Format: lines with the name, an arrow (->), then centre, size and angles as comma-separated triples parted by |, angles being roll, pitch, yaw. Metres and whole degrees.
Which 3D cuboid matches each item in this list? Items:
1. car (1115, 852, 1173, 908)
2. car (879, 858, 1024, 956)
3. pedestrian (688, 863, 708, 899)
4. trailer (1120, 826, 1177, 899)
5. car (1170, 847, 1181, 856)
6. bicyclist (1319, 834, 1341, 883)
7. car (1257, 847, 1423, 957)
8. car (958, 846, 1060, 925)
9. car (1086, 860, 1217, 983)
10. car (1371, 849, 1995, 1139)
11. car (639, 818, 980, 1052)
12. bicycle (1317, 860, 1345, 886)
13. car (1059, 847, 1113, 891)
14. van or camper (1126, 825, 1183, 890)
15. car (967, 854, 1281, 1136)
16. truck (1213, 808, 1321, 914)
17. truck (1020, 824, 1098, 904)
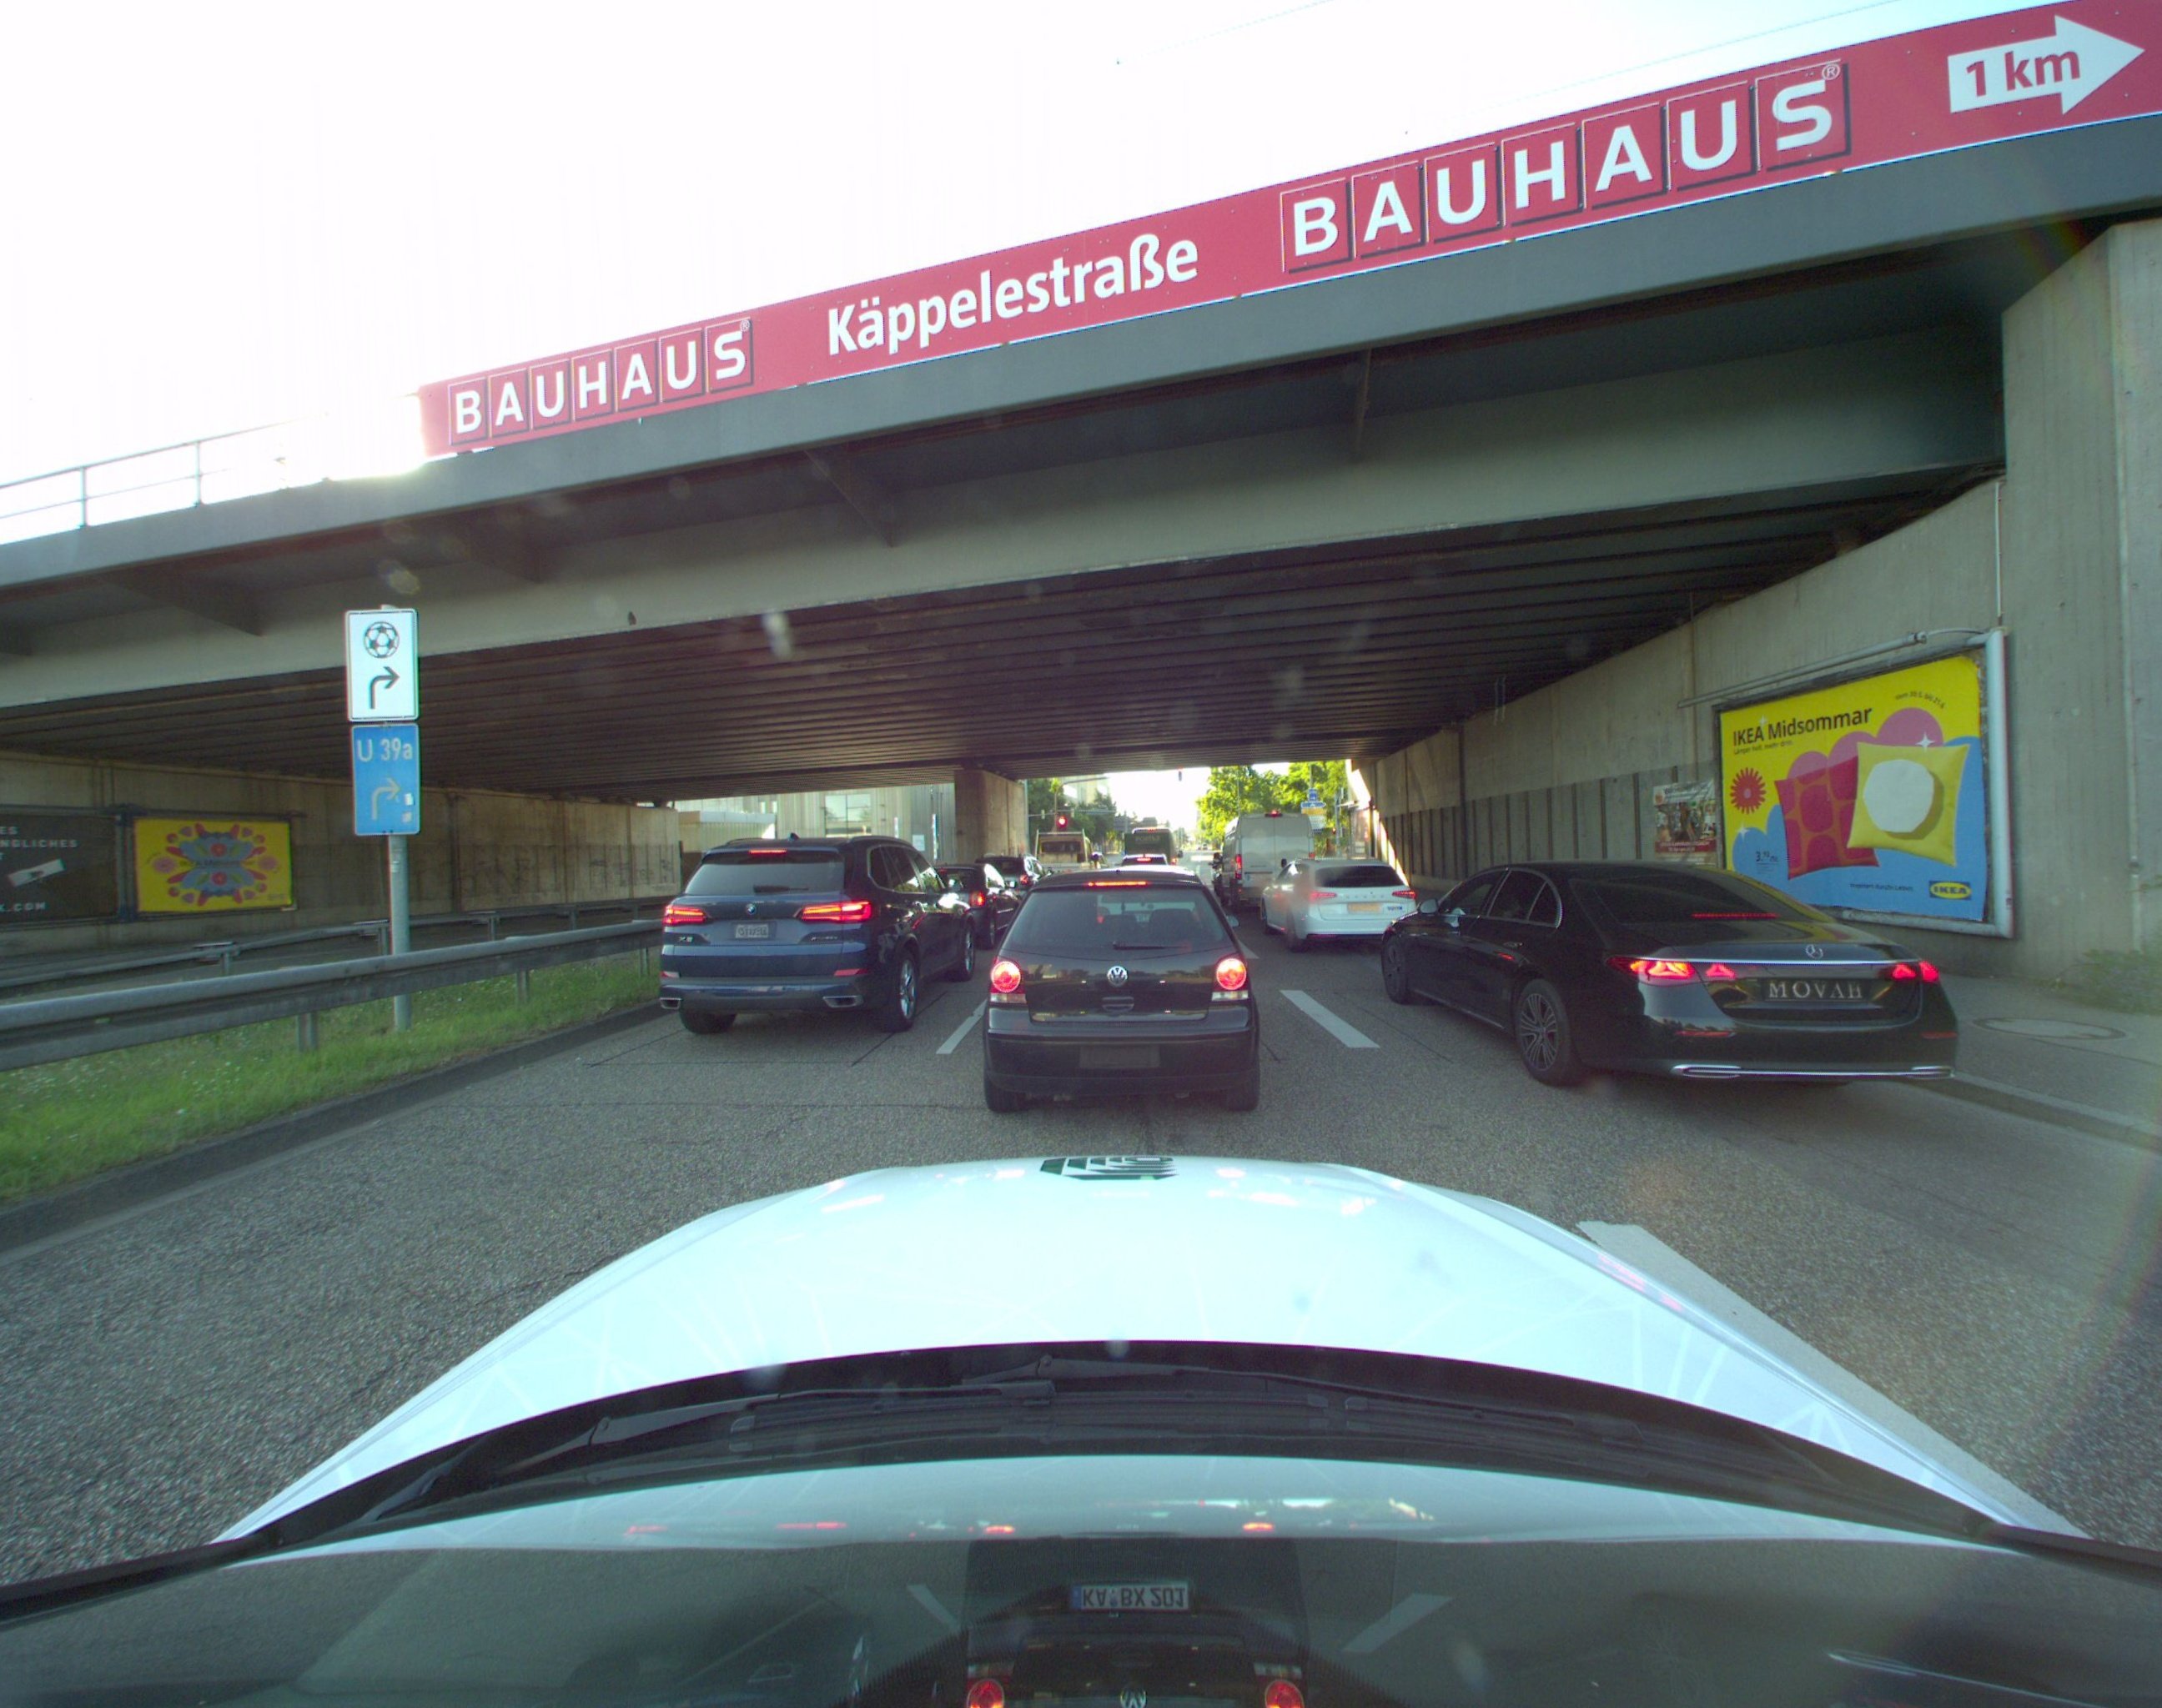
car -> 1.923, 0.762, 24.599 | 1.574, 1.532, 3.837 | -1, -1, 5
car -> -2.228, 0.887, 15.007 | 1.834, 1.440, 3.677 | -5, -1, 2
pedestrian -> -20.721, 1.445, 44.051 | 0.690, 1.904, 0.666 | -2, -1, 7
trailer -> 2.598, 0.323, 30.554 | 1.854, 2.465, 3.839 | -3, -1, 7
car -> 15.701, -0.412, 135.341 | 1.335, 1.281, 2.893 | -5, -1, 1
bicyclist -> 9.873, 0.190, 32.318 | 0.678, 1.907, 0.835 | -2, -1, 8
car -> 4.117, 0.725, 13.603 | 1.764, 1.495, 3.836 | -3, -1, 5
car -> -1.752, 0.780, 21.220 | 1.833, 1.719, 4.005 | -5, -1, 5
car -> 0.959, 0.809, 11.371 | 1.540, 1.423, 3.421 | 0, 0, 4
car -> 3.916, 0.714, 6.504 | 1.733, 1.454, 4.609 | -1, 0, 2
car -> -2.374, 0.665, 8.484 | 1.822, 1.738, 4.464 | -2, -1, 3
bicycle -> 9.929, 0.741, 32.424 | 0.575, 0.963, 2.892 | -2, -1, 8
car -> 0.296, 0.694, 37.675 | 1.983, 1.901, 4.007 | -2, -1, 7
van or camper -> 3.333, 0.171, 35.818 | 1.982, 2.571, 5.932 | -2, -1, 9
car -> 0.254, 0.760, 6.080 | 1.576, 1.409, 3.832 | -1, -1, 1
truck -> 4.970, 0.197, 22.407 | 2.102, 2.519, 4.405 | -3, -1, 4
truck -> -0.673, 0.367, 29.308 | 2.018, 2.557, 5.546 | -2, -1, 6
